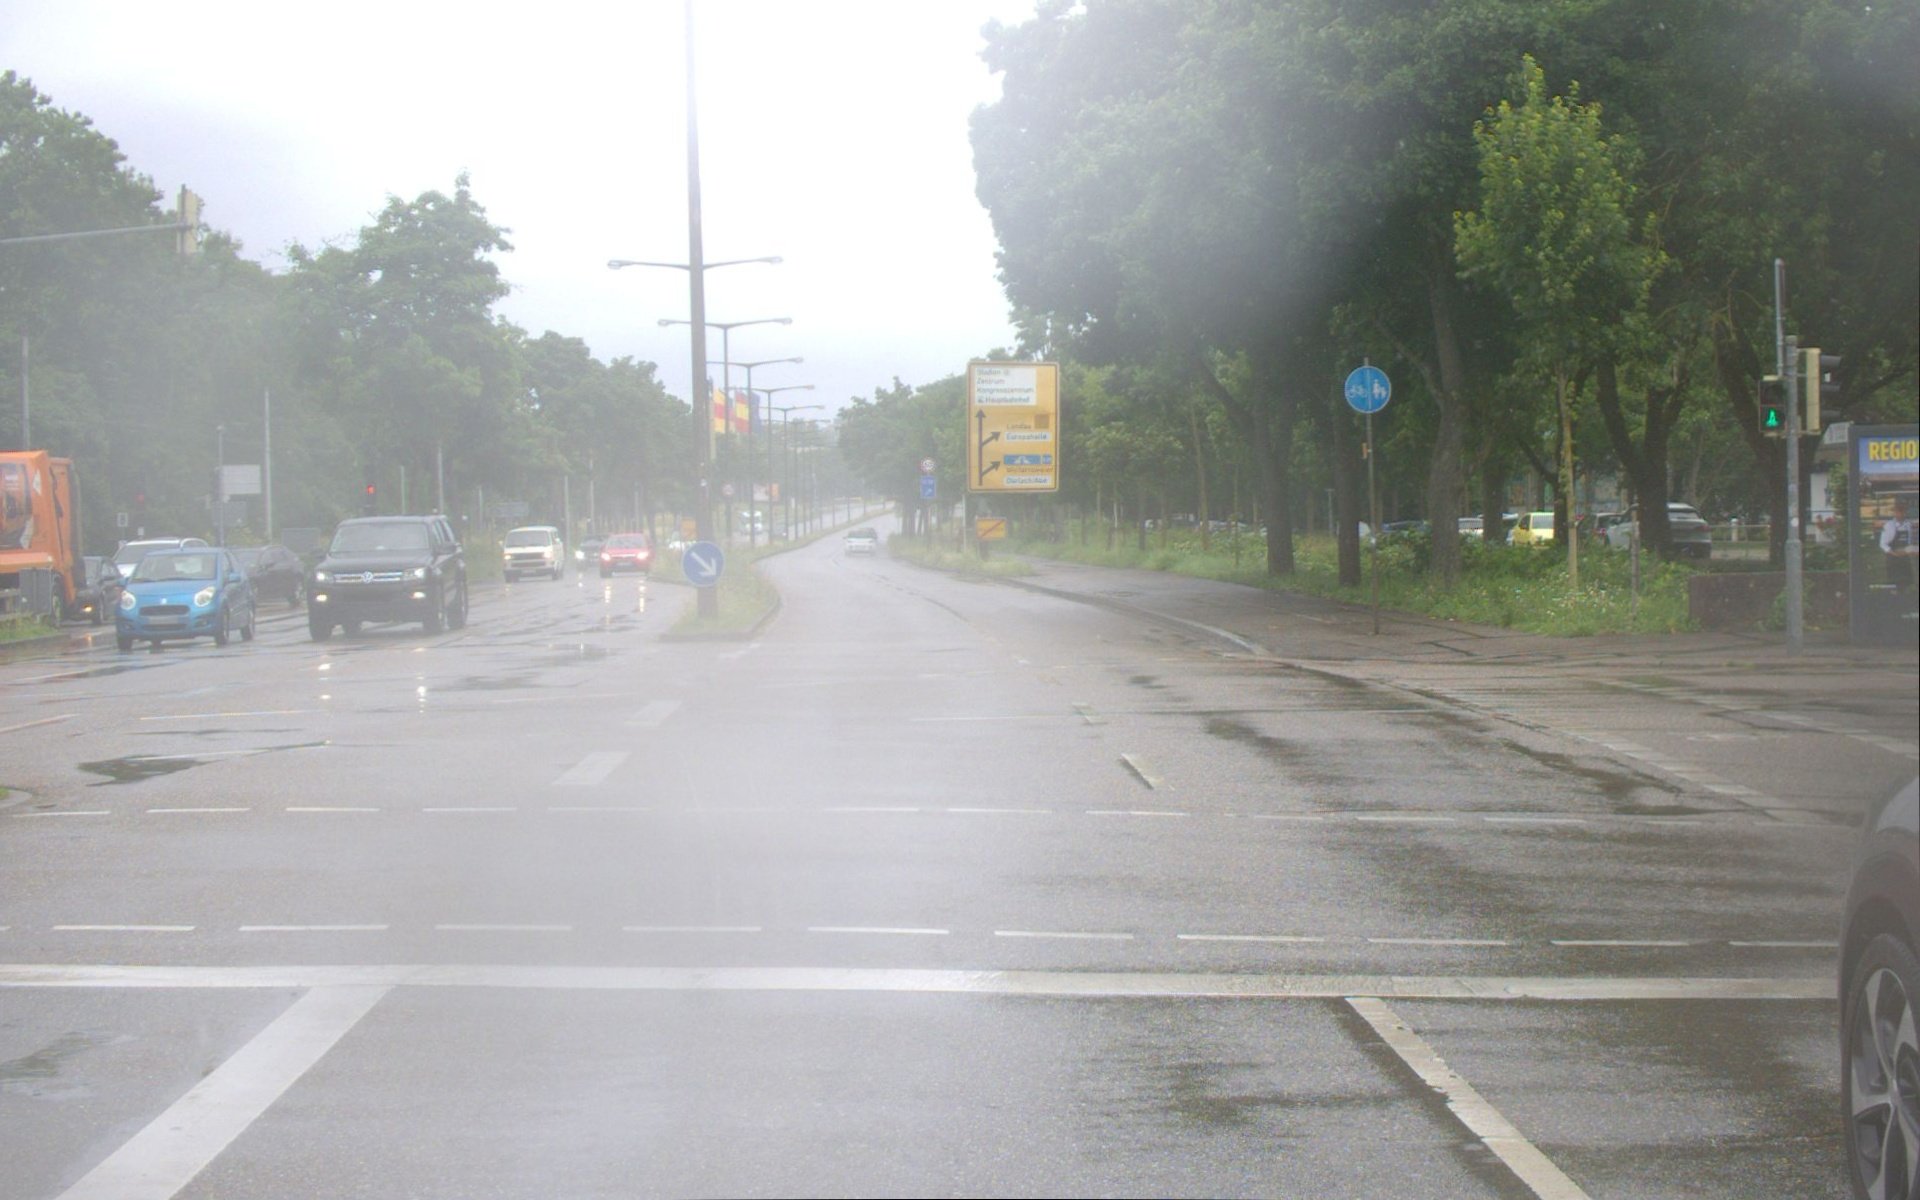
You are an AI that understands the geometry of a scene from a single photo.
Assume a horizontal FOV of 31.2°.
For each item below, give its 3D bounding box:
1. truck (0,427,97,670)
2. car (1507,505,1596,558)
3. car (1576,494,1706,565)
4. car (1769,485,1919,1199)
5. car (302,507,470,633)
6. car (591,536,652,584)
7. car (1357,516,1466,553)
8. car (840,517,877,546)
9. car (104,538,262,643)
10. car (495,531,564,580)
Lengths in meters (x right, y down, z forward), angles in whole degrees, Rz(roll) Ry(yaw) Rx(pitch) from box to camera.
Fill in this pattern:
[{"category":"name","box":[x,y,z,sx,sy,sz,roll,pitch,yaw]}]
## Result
[{"category":"truck","box":[-18.216,-0.936,61.123,3.384,4.153,10.407,1,1,-2]},{"category":"car","box":[17.266,-1.987,100.531,1.637,1.481,4.074,1,1,-4]},{"category":"car","box":[17.218,-1.770,87.122,1.993,1.711,4.879,-1,1,-4]},{"category":"car","box":[2.808,0.604,5.752,1.884,1.605,4.196,1,1,0]},{"category":"car","box":[-8.730,-0.492,52.674,1.805,1.767,5.090,-2,1,-2]},{"category":"car","box":[-11.788,-1.379,119.900,1.801,1.564,4.429,-2,1,-2]},{"category":"car","box":[20.754,-2.998,158.083,4.568,1.639,2.000,1,1,-7]},{"category":"car","box":[-5.517,-3.733,187.099,1.907,1.509,4.000,-1,1,-1]},{"category":"car","box":[-11.638,-0.165,51.717,1.641,1.422,4.001,-3,1,-4]},{"category":"car","box":[-14.936,-1.556,119.385,1.894,1.605,4.501,-1,1,-1]}]
